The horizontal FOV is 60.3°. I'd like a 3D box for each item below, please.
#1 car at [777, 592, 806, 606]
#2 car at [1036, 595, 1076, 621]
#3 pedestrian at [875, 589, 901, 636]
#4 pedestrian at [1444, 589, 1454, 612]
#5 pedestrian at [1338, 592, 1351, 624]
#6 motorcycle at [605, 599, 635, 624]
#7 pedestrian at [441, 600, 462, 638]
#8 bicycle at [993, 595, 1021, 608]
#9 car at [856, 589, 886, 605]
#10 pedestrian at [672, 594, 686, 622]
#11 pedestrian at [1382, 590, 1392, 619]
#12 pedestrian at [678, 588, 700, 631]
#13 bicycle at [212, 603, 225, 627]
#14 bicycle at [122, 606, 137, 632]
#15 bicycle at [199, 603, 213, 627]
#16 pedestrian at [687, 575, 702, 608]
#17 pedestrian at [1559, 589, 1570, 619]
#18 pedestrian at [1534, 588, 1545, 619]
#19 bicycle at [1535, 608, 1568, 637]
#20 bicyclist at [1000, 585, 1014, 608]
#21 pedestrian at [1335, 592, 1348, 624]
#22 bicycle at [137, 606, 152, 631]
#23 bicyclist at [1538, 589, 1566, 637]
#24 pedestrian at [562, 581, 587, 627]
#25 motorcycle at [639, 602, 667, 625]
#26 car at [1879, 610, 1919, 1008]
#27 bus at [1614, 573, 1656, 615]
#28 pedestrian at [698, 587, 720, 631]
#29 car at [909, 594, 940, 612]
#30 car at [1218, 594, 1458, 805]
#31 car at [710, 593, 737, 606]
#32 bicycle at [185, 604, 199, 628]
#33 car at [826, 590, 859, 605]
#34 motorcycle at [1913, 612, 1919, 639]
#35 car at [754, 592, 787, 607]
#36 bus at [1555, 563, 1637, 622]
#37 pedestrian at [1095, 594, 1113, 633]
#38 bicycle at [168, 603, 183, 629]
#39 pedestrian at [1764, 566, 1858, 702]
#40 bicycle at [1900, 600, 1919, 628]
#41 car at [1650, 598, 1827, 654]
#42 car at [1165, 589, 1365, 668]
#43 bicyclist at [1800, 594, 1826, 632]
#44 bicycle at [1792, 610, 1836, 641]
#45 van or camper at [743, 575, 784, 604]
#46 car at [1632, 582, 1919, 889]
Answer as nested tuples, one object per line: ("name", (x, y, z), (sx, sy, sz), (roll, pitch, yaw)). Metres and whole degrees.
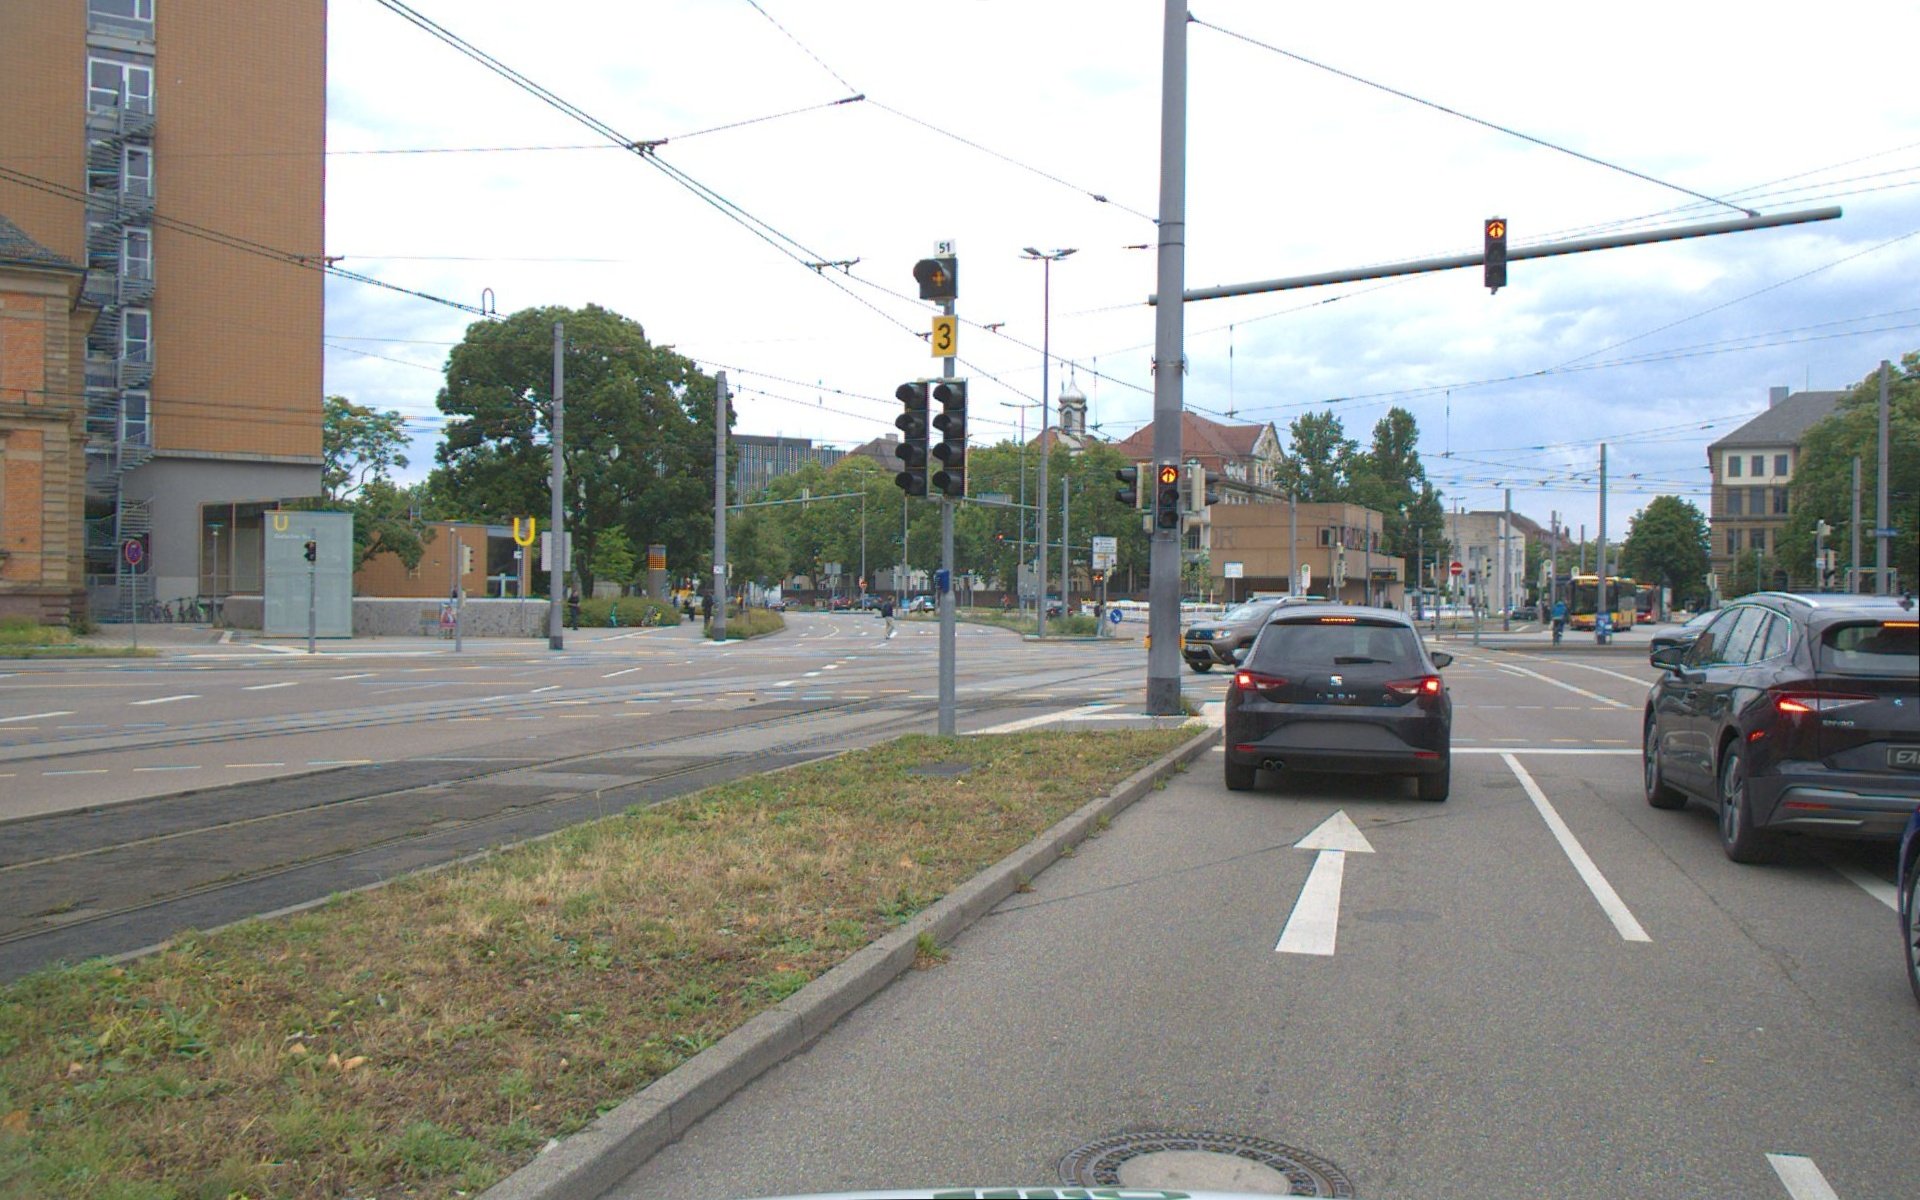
("car", (-18.821, -0.090, 184.691), (1.757, 1.489, 3.961), (0, 0, -29))
("car", (6.392, 0.544, 110.445), (1.955, 1.713, 3.994), (0, -1, -7))
("pedestrian", (-3.058, 0.521, 70.072), (1.009, 1.968, 0.699), (0, 0, -11))
("pedestrian", (42.094, 0.049, 142.437), (0.612, 1.952, 0.707), (-1, -2, 40))
("pedestrian", (23.940, 0.489, 103.082), (0.694, 1.951, 0.623), (0, 0, 22))
("motorcycle", (-17.308, 0.584, 84.202), (1.453, 1.290, 0.506), (0, 0, -32))
("pedestrian", (-18.026, 0.667, 58.655), (0.567, 1.359, 0.492), (1, 0, -36))
("bicycle", (4.245, 0.146, 148.597), (0.926, 1.199, 2.712), (0, 0, 43))
("car", (-8.783, -0.334, 163.468), (1.752, 1.489, 3.971), (0, 1, -23))
("pedestrian", (-20.404, 0.590, 120.157), (0.861, 2.016, 0.795), (0, -1, -4))
("pedestrian", (28.876, 0.292, 111.941), (0.608, 1.951, 0.711), (0, 0, 18))
("pedestrian", (-12.551, 0.442, 76.708), (0.910, 1.982, 0.912), (0, 0, -4))
("bicycle", (-33.726, 0.678, 75.233), (0.475, 1.067, 1.415), (0, 0, -28))
("bicycle", (-36.845, 0.823, 73.383), (0.564, 1.125, 1.415), (0, 0, -28))
("bicycle", (-34.185, 0.691, 74.981), (0.475, 1.067, 1.415), (0, 0, -28))
("pedestrian", (-16.593, -0.546, 103.507), (0.782, 2.016, 0.876), (1, -1, -20))
("pedestrian", (38.901, 0.239, 106.471), (0.609, 1.951, 0.698), (0, 0, 24))
("pedestrian", (37.327, 0.221, 106.483), (0.609, 1.951, 0.698), (0, 0, 24))
("bicycle", (23.628, 0.891, 66.117), (0.847, 1.124, 2.304), (1, 0, 10))
("bicyclist", (4.214, -0.280, 148.581), (0.924, 2.049, 0.972), (0, 0, 43))
("pedestrian", (23.622, 0.474, 102.342), (0.694, 1.951, 0.623), (0, 0, 22))
("bicycle", (-36.329, 0.822, 73.677), (0.564, 1.125, 1.415), (0, 0, -28))
("bicyclist", (23.631, 0.504, 66.009), (0.852, 1.884, 1.048), (0, 0, 9))
("pedestrian", (-17.450, 0.177, 74.861), (1.001, 2.049, 0.845), (0, 0, -5))
("motorcycle", (-15.924, 0.694, 85.832), (0.500, 1.130, 1.742), (0, 0, 27))
("car", (4.065, 0.792, 4.438), (1.742, 1.514, 4.469), (0, 0, 15))
("bus", (55.355, -0.486, 135.463), (2.601, 3.340, 10.986), (0, 0, 25))
("pedestrian", (-11.695, 0.427, 77.046), (0.910, 2.049, 1.010), (0, -1, -5))
("car", (-3.178, 0.233, 147.068), (1.748, 1.489, 3.980), (0, 1, -18))
("car", (3.106, 0.696, 13.730), (1.668, 1.474, 3.815), (1, 0, 12))
("car", (-27.438, -0.090, 191.568), (1.758, 1.489, 3.958), (0, 1, -31))
("bicycle", (-34.673, 0.711, 74.646), (0.502, 1.067, 1.415), (0, 0, -28))
("car", (-12.071, -0.229, 169.937), (1.758, 1.489, 3.958), (0, 1, -31))
("motorcycle", (42.873, 1.126, 72.506), (2.102, 1.159, 0.740), (0, 0, -19))
("car", (-18.596, -0.032, 162.168), (1.758, 1.489, 3.958), (0, 0, -31))
("bus", (36.878, -0.433, 95.617), (2.904, 3.178, 11.520), (0, 0, 29))
("pedestrian", (5.772, 0.545, 66.269), (0.712, 1.569, 0.417), (0, 0, 2))
("bicycle", (-35.249, 0.706, 74.326), (0.564, 1.125, 1.415), (0, 0, -28))
("pedestrian", (12.386, 0.492, 24.082), (1.088, 1.940, 0.729), (1, 0, -28))
("bicycle", (47.478, 0.684, 81.209), (2.215, 1.354, 0.707), (0, -1, 22))
("car", (20.530, 0.671, 43.614), (4.312, 1.420, 1.689), (0, 0, -19))
("car", (6.826, 0.617, 36.961), (4.161, 1.668, 1.790), (0, 0, -25))
("bicyclist", (37.777, 0.566, 73.251), (0.837, 1.702, 0.653), (0, 0, -6))
("bicycle", (37.823, 1.138, 73.252), (1.697, 1.345, 0.644), (0, 0, -7))
("van or camper", (-21.749, -1.130, 183.099), (2.366, 3.179, 5.439), (0, 0, -34))
("car", (5.714, 0.715, 10.954), (1.739, 1.625, 4.513), (1, 0, 15))
